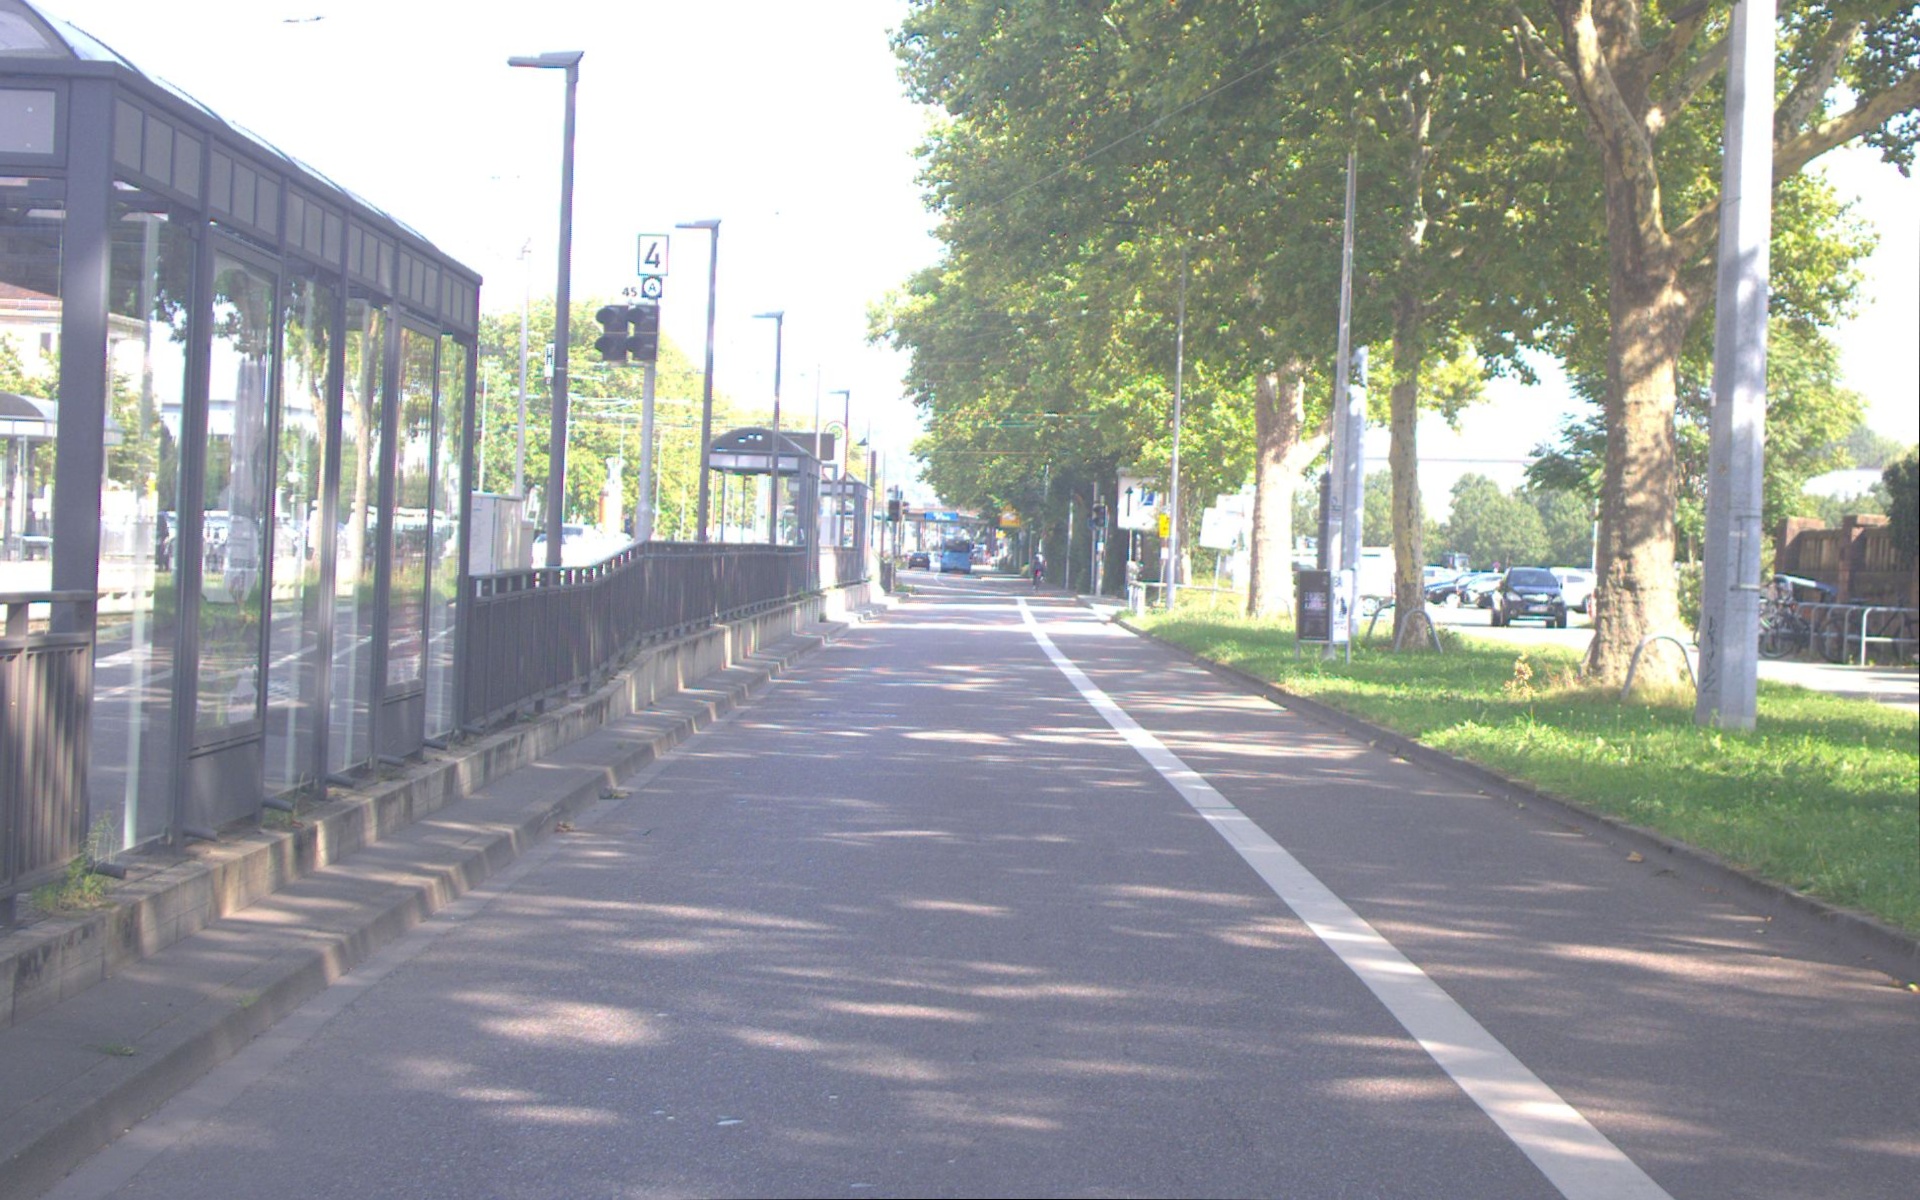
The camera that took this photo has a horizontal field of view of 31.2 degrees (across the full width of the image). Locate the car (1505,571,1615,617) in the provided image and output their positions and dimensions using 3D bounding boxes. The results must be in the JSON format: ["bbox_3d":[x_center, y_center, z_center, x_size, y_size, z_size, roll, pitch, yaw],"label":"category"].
[{"bbox_3d":[21.745,-0.216,124.595,3.775,1.441,1.526,3,1,7],"label":"car"}]

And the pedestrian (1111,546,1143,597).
[{"bbox_3d":[5.446,-0.928,111.879,0.626,1.612,0.843,3,1,38],"label":"pedestrian"}]

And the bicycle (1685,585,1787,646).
[{"bbox_3d":[12.905,0.248,57.190,0.505,0.966,1.661,0,1,-41],"label":"bicycle"}]

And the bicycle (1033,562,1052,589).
[{"bbox_3d":[3.594,-1.080,149.659,0.715,1.104,2.509,3,1,0],"label":"bicycle"}]

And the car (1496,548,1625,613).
[{"bbox_3d":[16.595,-0.537,94.800,1.725,1.673,4.240,3,1,37],"label":"car"}]

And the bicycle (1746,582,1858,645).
[{"bbox_3d":[13.365,0.211,54.577,1.656,0.966,0.506,0,1,6],"label":"bicycle"}]

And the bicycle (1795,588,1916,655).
[{"bbox_3d":[13.215,0.316,50.761,1.656,0.966,0.506,0,1,2],"label":"bicycle"}]

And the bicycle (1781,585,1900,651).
[{"bbox_3d":[13.206,0.271,51.582,1.656,0.966,0.506,0,1,6],"label":"bicycle"}]

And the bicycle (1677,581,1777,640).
[{"bbox_3d":[12.951,0.172,58.049,0.505,0.966,1.661,0,1,-41],"label":"bicycle"}]

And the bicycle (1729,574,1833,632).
[{"bbox_3d":[14.102,0.048,59.059,1.656,0.966,0.506,0,1,3],"label":"bicycle"}]

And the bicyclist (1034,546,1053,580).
[{"bbox_3d":[3.628,-1.600,149.714,0.705,1.456,1.009,3,0,0],"label":"bicyclist"}]

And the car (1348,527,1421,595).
[{"bbox_3d":[13.382,-1.258,108.616,1.722,2.041,4.462,2,1,0],"label":"car"}]
